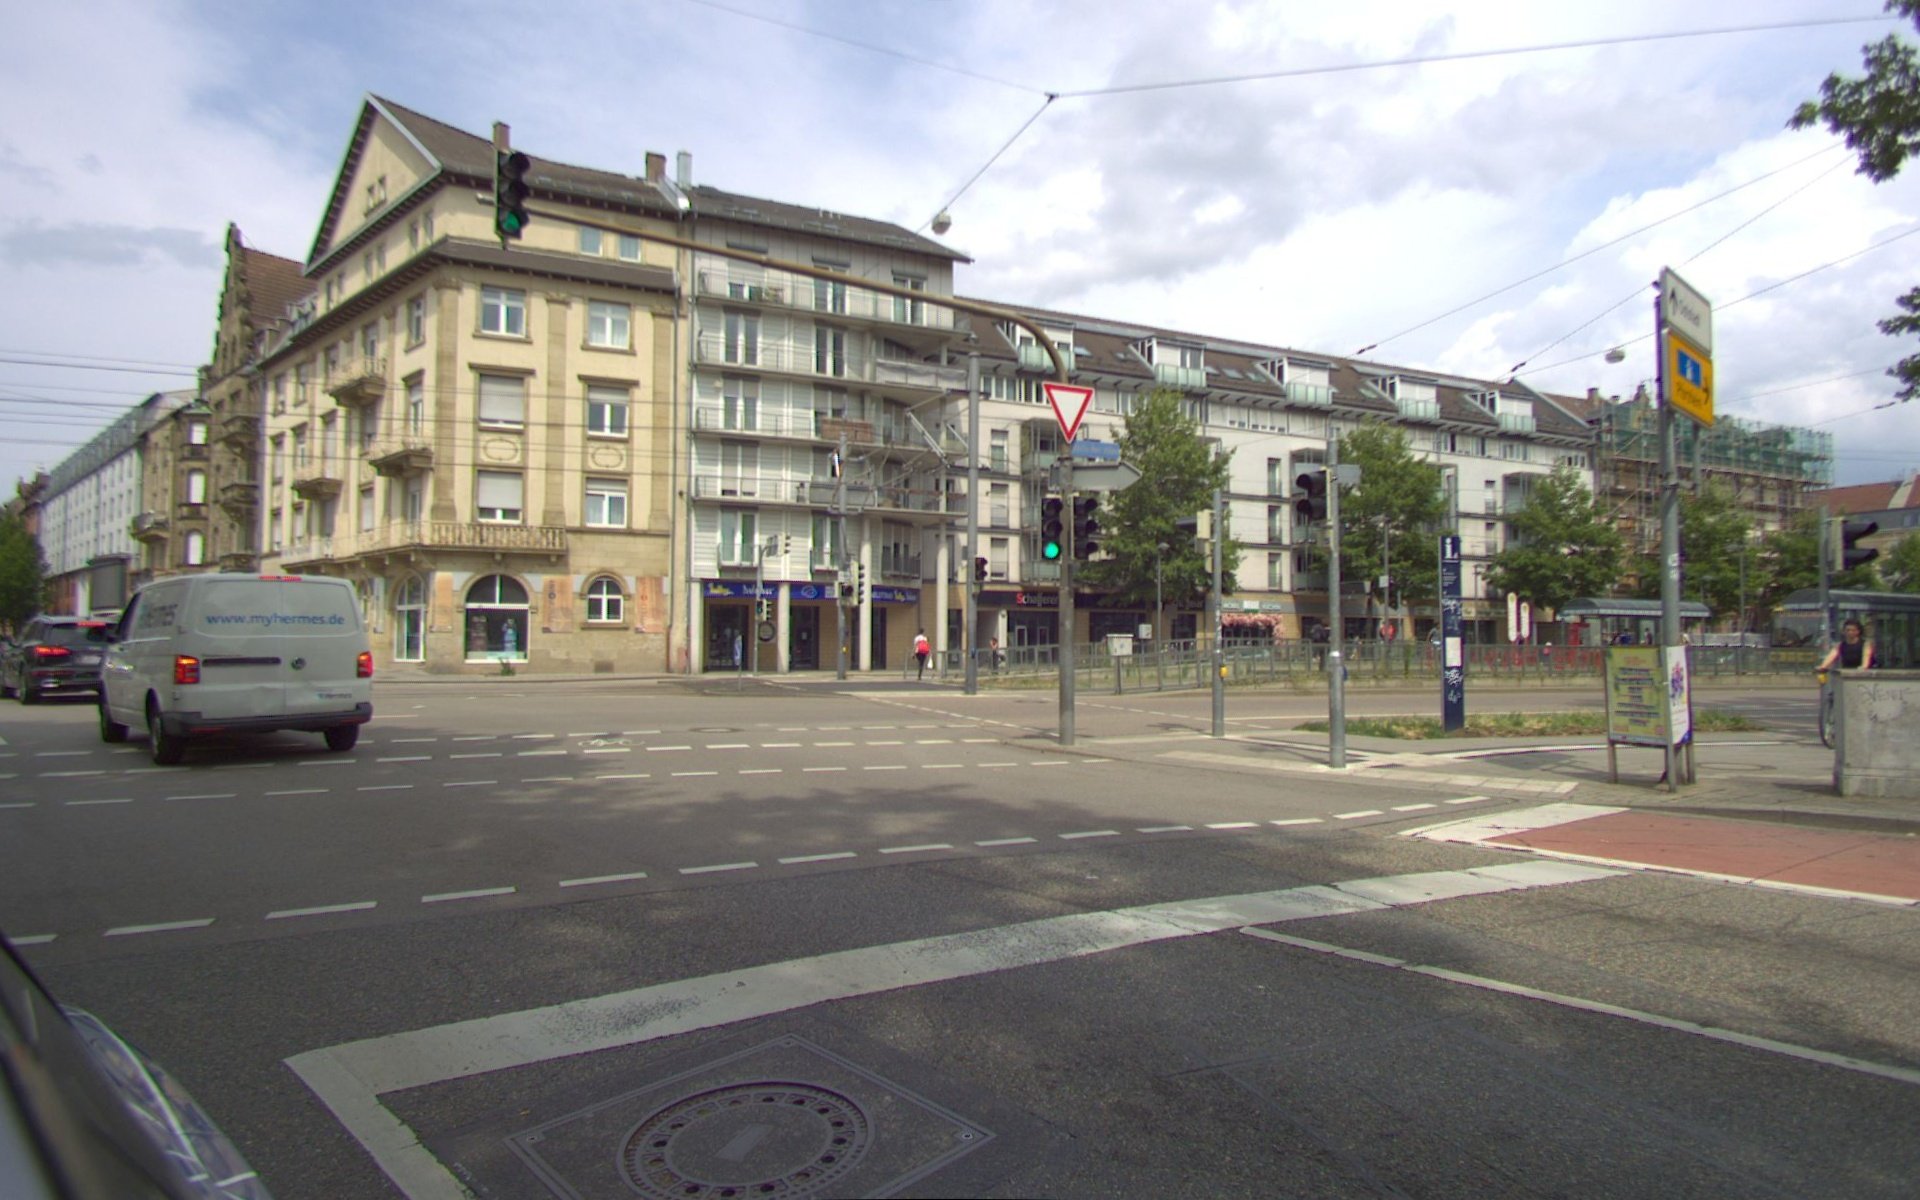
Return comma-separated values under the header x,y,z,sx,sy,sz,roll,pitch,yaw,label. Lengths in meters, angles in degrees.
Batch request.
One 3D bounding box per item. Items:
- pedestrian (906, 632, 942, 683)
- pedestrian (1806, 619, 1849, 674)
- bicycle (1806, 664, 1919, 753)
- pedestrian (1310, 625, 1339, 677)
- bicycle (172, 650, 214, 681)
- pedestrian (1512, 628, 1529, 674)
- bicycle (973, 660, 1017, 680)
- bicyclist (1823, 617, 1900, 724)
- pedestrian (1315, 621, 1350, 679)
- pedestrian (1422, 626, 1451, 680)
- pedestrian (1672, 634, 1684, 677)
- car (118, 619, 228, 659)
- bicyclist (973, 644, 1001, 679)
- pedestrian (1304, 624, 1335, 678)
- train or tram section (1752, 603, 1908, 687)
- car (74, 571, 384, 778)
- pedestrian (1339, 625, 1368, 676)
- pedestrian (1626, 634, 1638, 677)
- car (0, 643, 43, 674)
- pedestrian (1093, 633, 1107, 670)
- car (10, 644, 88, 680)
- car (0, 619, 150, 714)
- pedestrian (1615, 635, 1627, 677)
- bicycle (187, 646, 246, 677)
x,y,z,sx,sy,sz,roll,pitch,yaw,label
-1.139,1.804,31.905,0.824,1.564,0.870,1,-3,-25,pedestrian
32.745,1.765,38.207,0.858,2.029,0.855,1,-3,-25,pedestrian
12.049,1.425,13.403,1.937,1.103,0.629,4,-5,-30,bicycle
14.453,2.026,40.164,0.744,2.029,0.763,1,-3,-24,pedestrian
-31.454,2.661,41.511,0.397,1.201,1.329,-3,-2,38,bicycle
24.751,2.250,44.717,0.363,2.029,0.503,1,-3,-25,pedestrian
1.497,2.969,42.911,1.760,0.822,0.654,1,-3,-24,bicycle
11.856,0.922,13.312,0.739,1.352,0.493,2,-4,-28,bicyclist
10.186,1.371,27.690,0.588,1.564,0.672,2,-3,-26,pedestrian
20.578,2.285,43.709,0.744,2.267,0.763,1,-3,-24,pedestrian
33.615,2.598,47.383,0.307,1.969,0.326,2,-4,-34,pedestrian
-35.732,1.728,46.103,1.736,1.601,4.033,-3,-1,2,car
1.147,2.587,42.779,0.983,1.455,0.643,1,-3,-24,bicyclist
13.761,1.953,38.734,0.744,2.029,0.763,1,-3,-24,pedestrian
37.988,2.048,44.156,7.386,3.340,2.374,3,-4,-26,train or tram section
-8.764,0.800,11.940,4.945,1.951,1.903,-2,-3,41,car
15.881,2.030,40.863,0.744,2.029,0.763,1,-3,-24,pedestrian
31.347,2.592,47.232,0.307,1.969,0.326,2,-4,-34,pedestrian
-47.844,2.938,51.043,3.996,1.535,1.745,-2,-5,40,car
6.653,2.438,47.951,0.558,1.735,0.519,-1,-3,19,pedestrian
-38.597,2.598,42.862,4.235,1.442,1.718,-3,-4,38,car
-17.510,1.245,19.839,4.425,1.660,1.803,-2,-3,41,car
31.030,2.623,47.527,0.307,1.969,0.326,2,-4,-34,pedestrian
-29.717,2.467,40.488,1.844,1.201,0.457,1,-3,-29,bicycle
